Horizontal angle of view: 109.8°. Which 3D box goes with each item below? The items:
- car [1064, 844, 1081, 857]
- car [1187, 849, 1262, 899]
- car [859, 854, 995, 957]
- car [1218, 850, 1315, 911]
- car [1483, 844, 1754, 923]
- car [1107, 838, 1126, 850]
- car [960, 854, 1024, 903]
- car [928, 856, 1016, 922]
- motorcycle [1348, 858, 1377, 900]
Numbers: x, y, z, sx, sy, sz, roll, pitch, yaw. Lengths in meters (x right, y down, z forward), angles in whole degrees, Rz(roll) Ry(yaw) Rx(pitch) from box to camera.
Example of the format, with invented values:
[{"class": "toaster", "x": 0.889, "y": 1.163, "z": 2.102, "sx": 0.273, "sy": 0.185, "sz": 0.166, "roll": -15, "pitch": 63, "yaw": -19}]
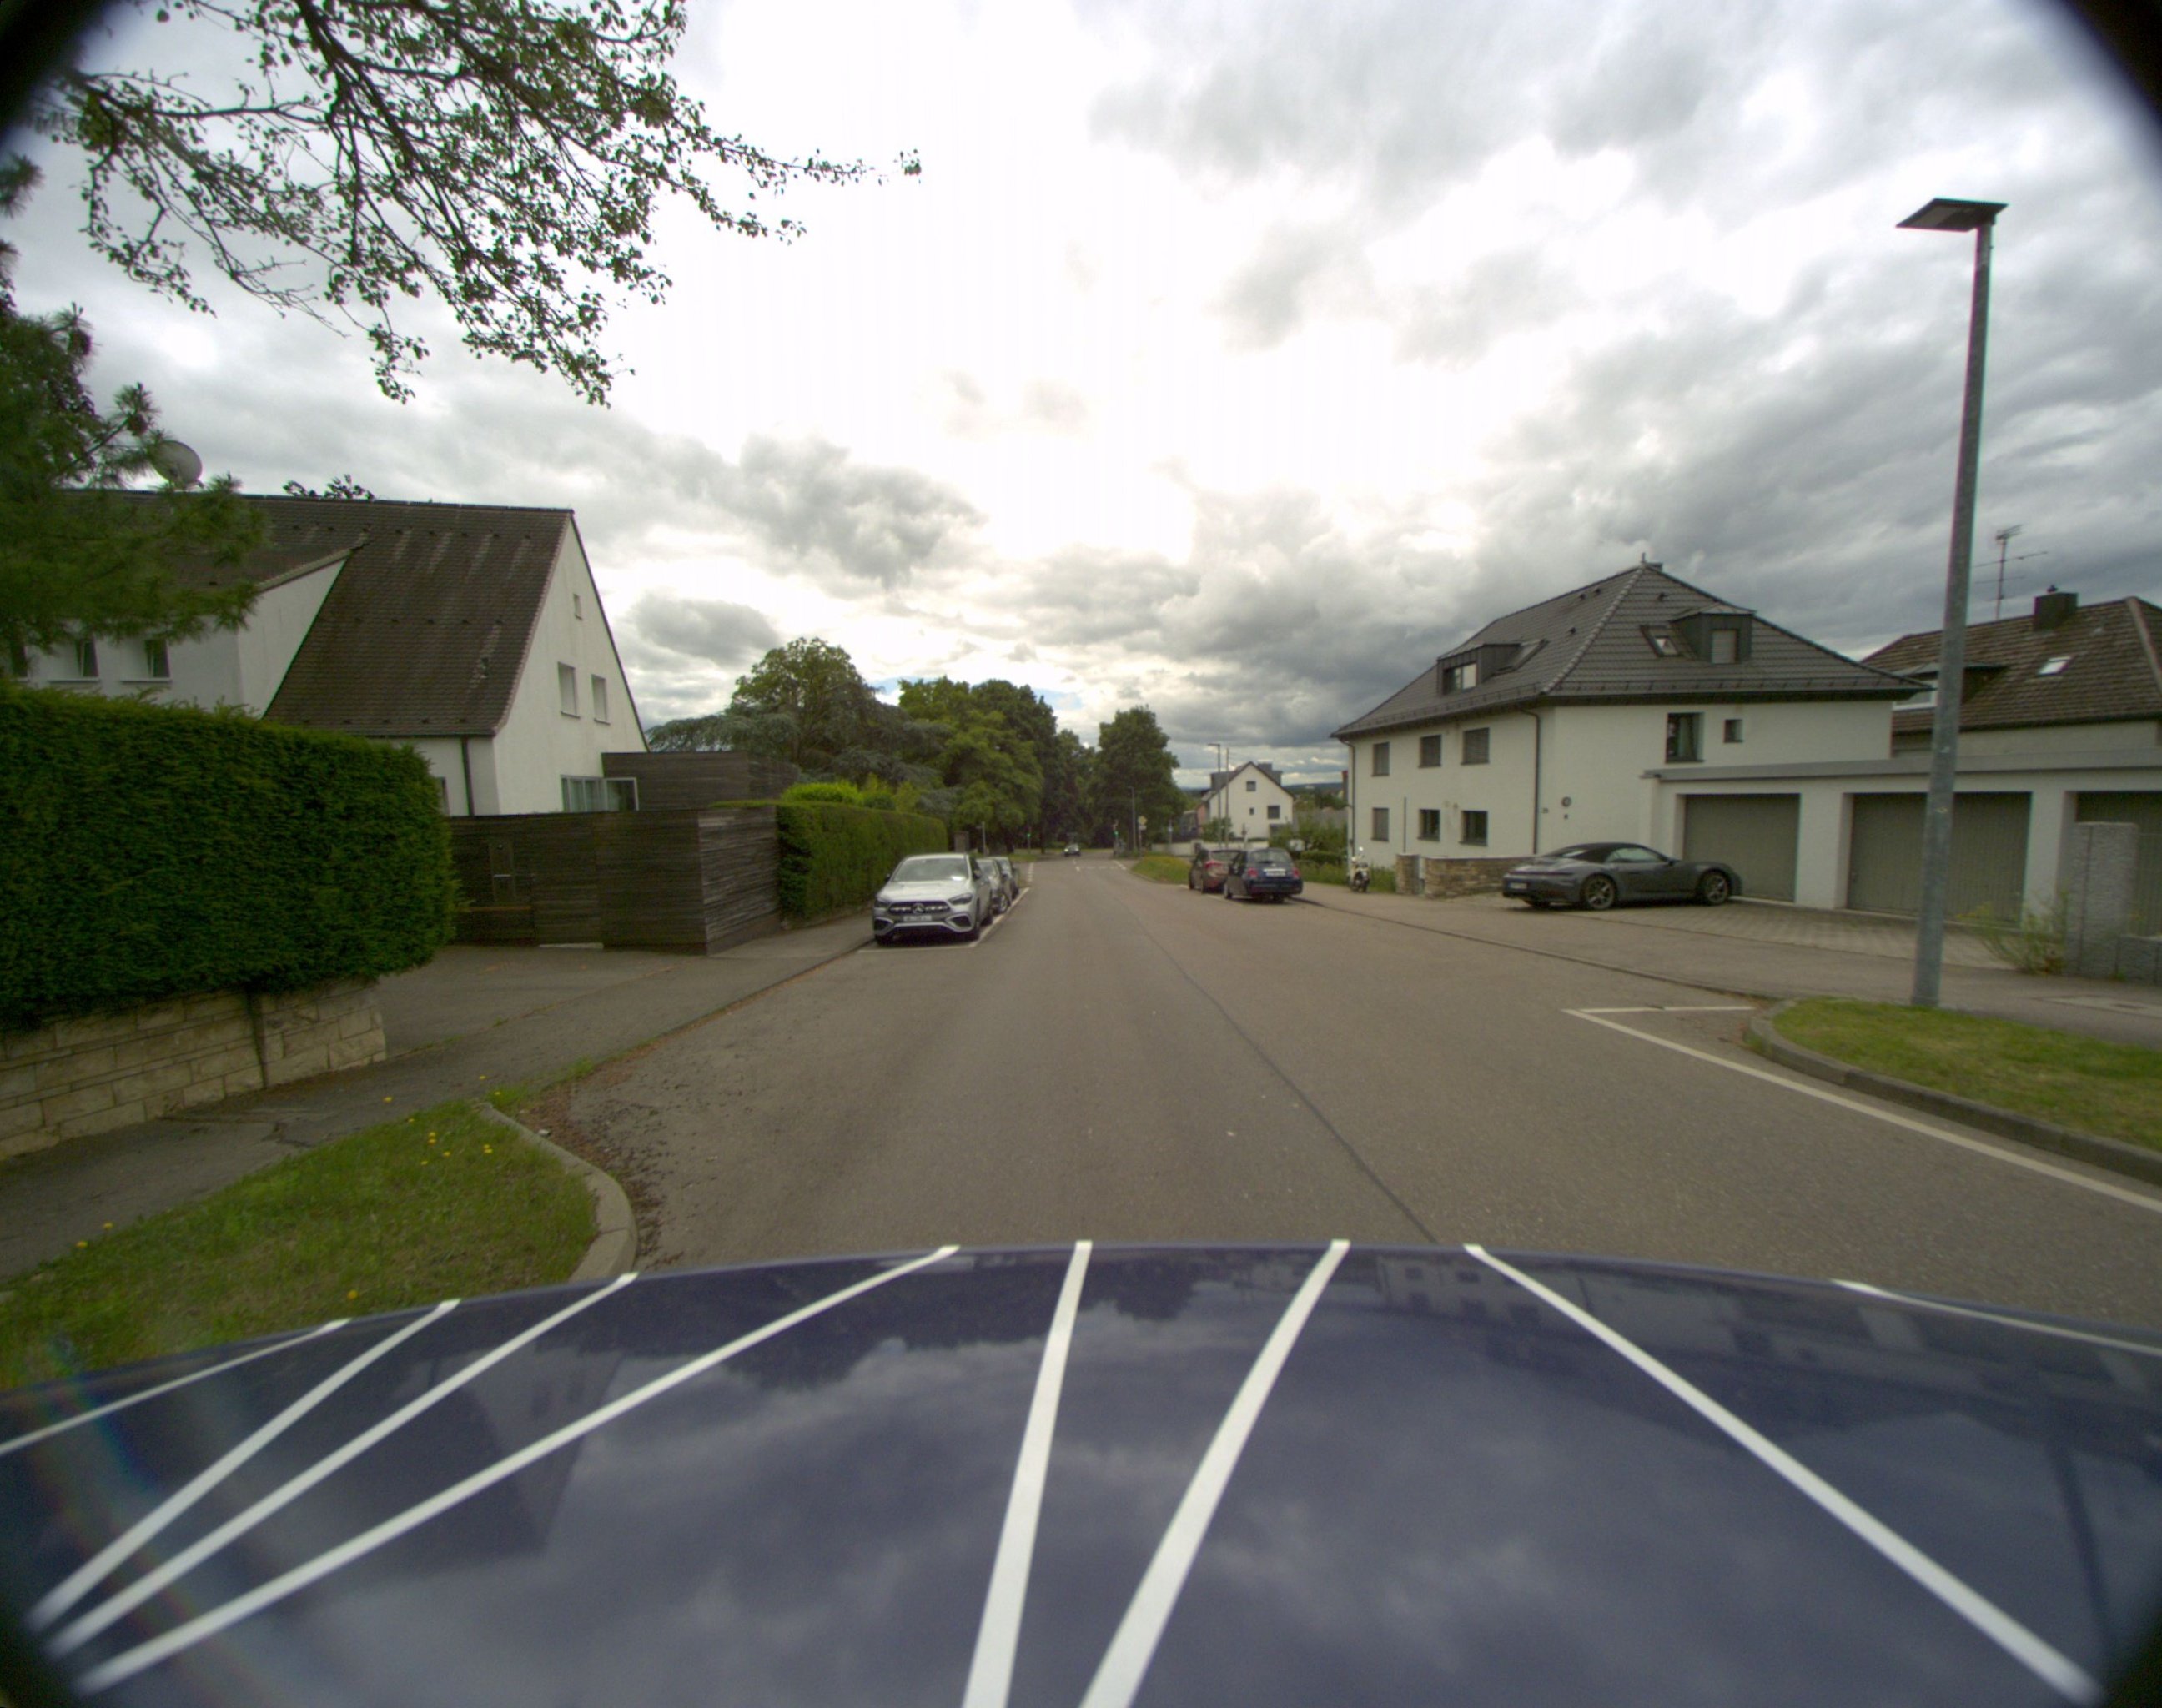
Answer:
[{"class": "car", "x": -1.006, "y": -0.403, "z": 90.950, "sx": 1.568, "sy": 1.504, "sz": 3.398, "roll": -1, "pitch": 1, "yaw": 5}, {"class": "car", "x": 4.977, "y": 0.631, "z": 26.819, "sx": 1.882, "sy": 1.576, "sz": 3.871, "roll": -1, "pitch": 1, "yaw": 0}, {"class": "car", "x": -2.803, "y": 0.862, "z": 14.784, "sx": 1.860, "sy": 1.573, "sz": 4.170, "roll": -3, "pitch": 1, "yaw": -2}, {"class": "car", "x": 5.155, "y": 0.687, "z": 21.555, "sx": 1.882, "sy": 1.528, "sz": 3.506, "roll": -1, "pitch": 1, "yaw": 0}, {"class": "car", "x": 10.837, "y": 0.548, "z": 15.499, "sx": 4.299, "sy": 1.360, "sz": 1.903, "roll": -2, "pitch": 1, "yaw": -6}, {"class": "car", "x": 5.074, "y": -1.444, "z": 107.678, "sx": 1.996, "sy": 1.544, "sz": 4.002, "roll": 1, "pitch": 3, "yaw": 14}, {"class": "car", "x": -3.020, "y": 0.782, "z": 26.481, "sx": 1.860, "sy": 1.456, "sz": 3.998, "roll": -3, "pitch": 1, "yaw": -2}, {"class": "car", "x": -2.810, "y": 0.857, "z": 20.511, "sx": 1.860, "sy": 1.456, "sz": 4.170, "roll": -3, "pitch": 1, "yaw": -2}, {"class": "motorcycle", "x": 8.549, "y": 0.733, "z": 23.154, "sx": 0.430, "sy": 1.154, "sz": 1.863, "roll": 0, "pitch": 2, "yaw": 8}]
